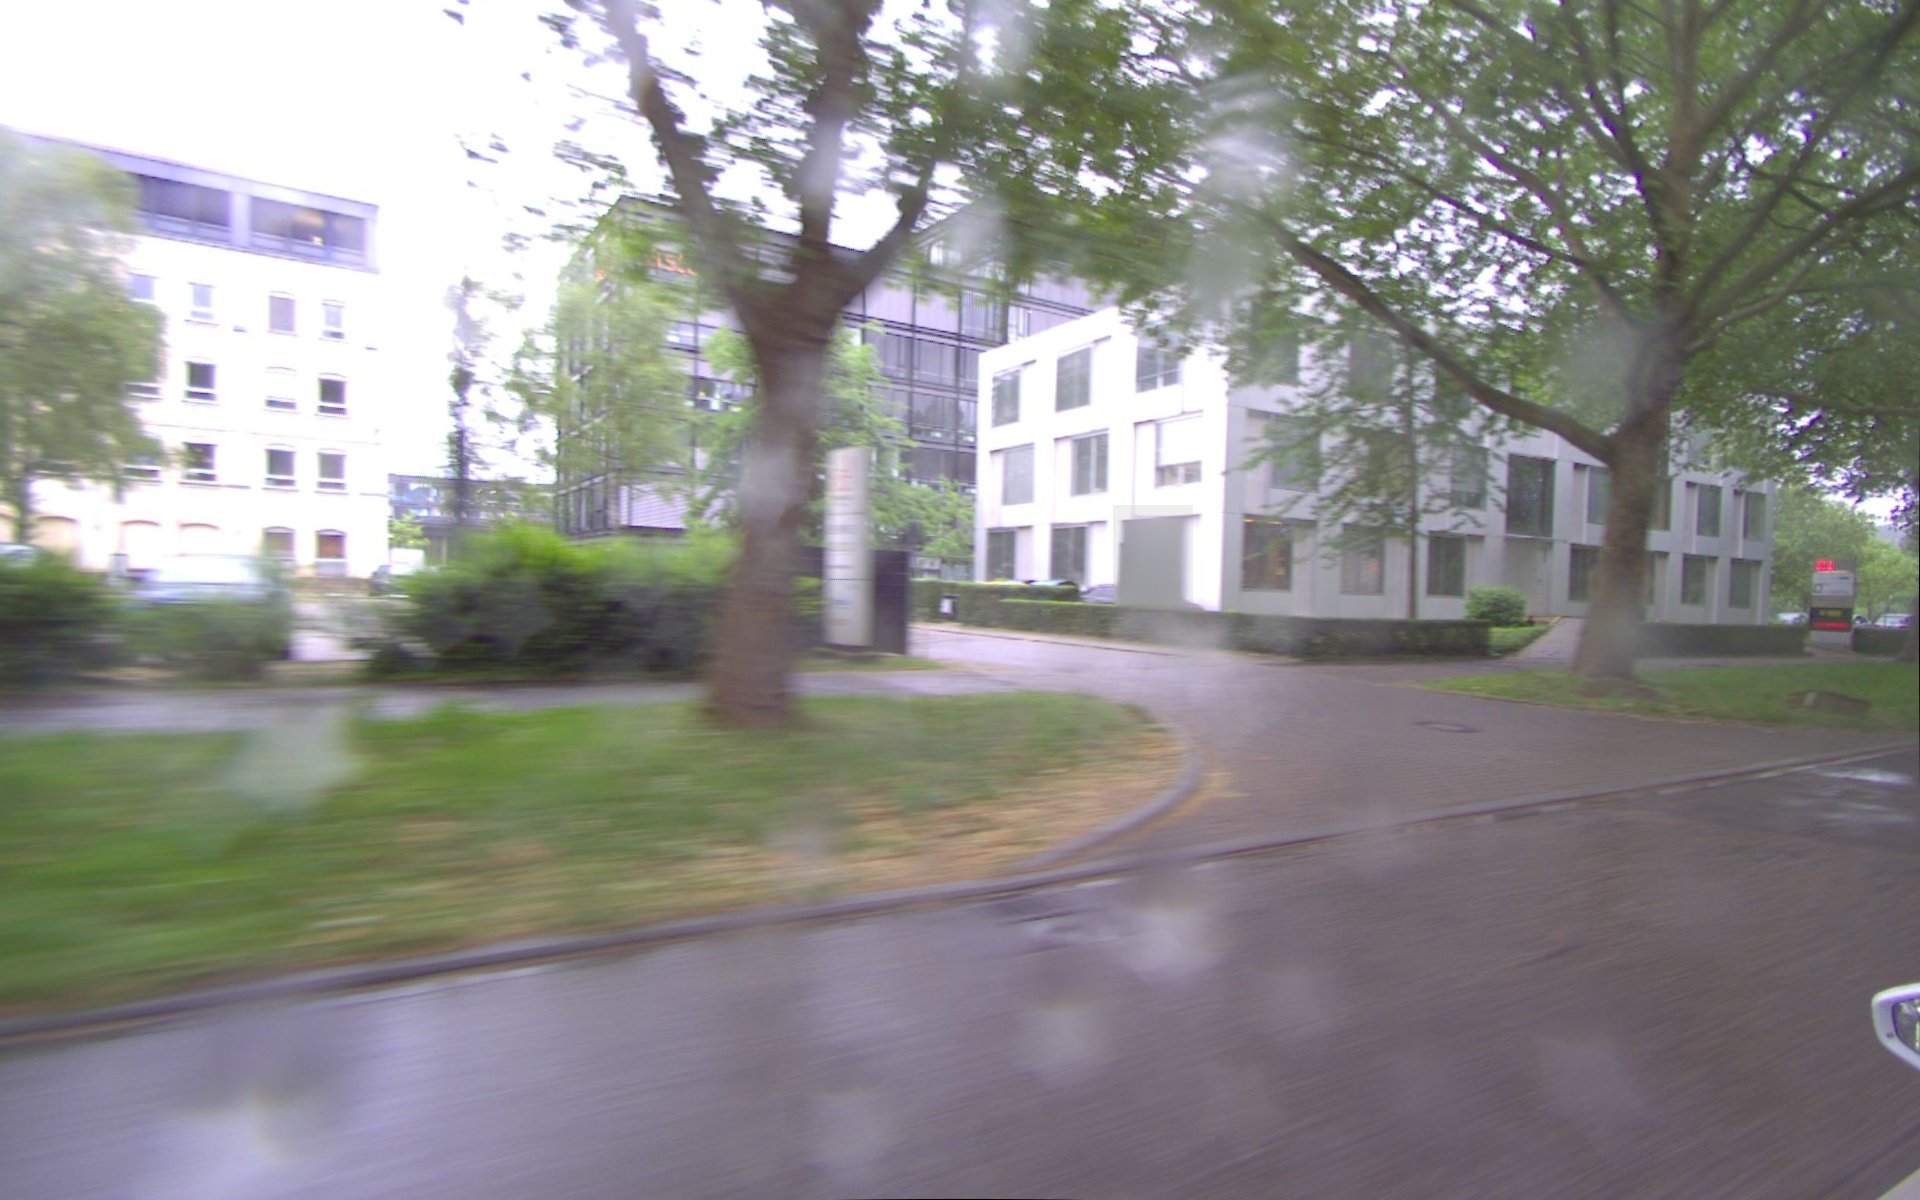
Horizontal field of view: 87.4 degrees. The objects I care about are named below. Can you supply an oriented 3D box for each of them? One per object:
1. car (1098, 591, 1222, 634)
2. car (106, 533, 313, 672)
[{"bbox_3d":[6.434,0.378,32.729,1.769,1.172,3.967,1,2,-30],"label":"car"},{"bbox_3d":[-10.179,0.089,13.927,1.978,1.615,3.965,1,-2,-33],"label":"car"}]
